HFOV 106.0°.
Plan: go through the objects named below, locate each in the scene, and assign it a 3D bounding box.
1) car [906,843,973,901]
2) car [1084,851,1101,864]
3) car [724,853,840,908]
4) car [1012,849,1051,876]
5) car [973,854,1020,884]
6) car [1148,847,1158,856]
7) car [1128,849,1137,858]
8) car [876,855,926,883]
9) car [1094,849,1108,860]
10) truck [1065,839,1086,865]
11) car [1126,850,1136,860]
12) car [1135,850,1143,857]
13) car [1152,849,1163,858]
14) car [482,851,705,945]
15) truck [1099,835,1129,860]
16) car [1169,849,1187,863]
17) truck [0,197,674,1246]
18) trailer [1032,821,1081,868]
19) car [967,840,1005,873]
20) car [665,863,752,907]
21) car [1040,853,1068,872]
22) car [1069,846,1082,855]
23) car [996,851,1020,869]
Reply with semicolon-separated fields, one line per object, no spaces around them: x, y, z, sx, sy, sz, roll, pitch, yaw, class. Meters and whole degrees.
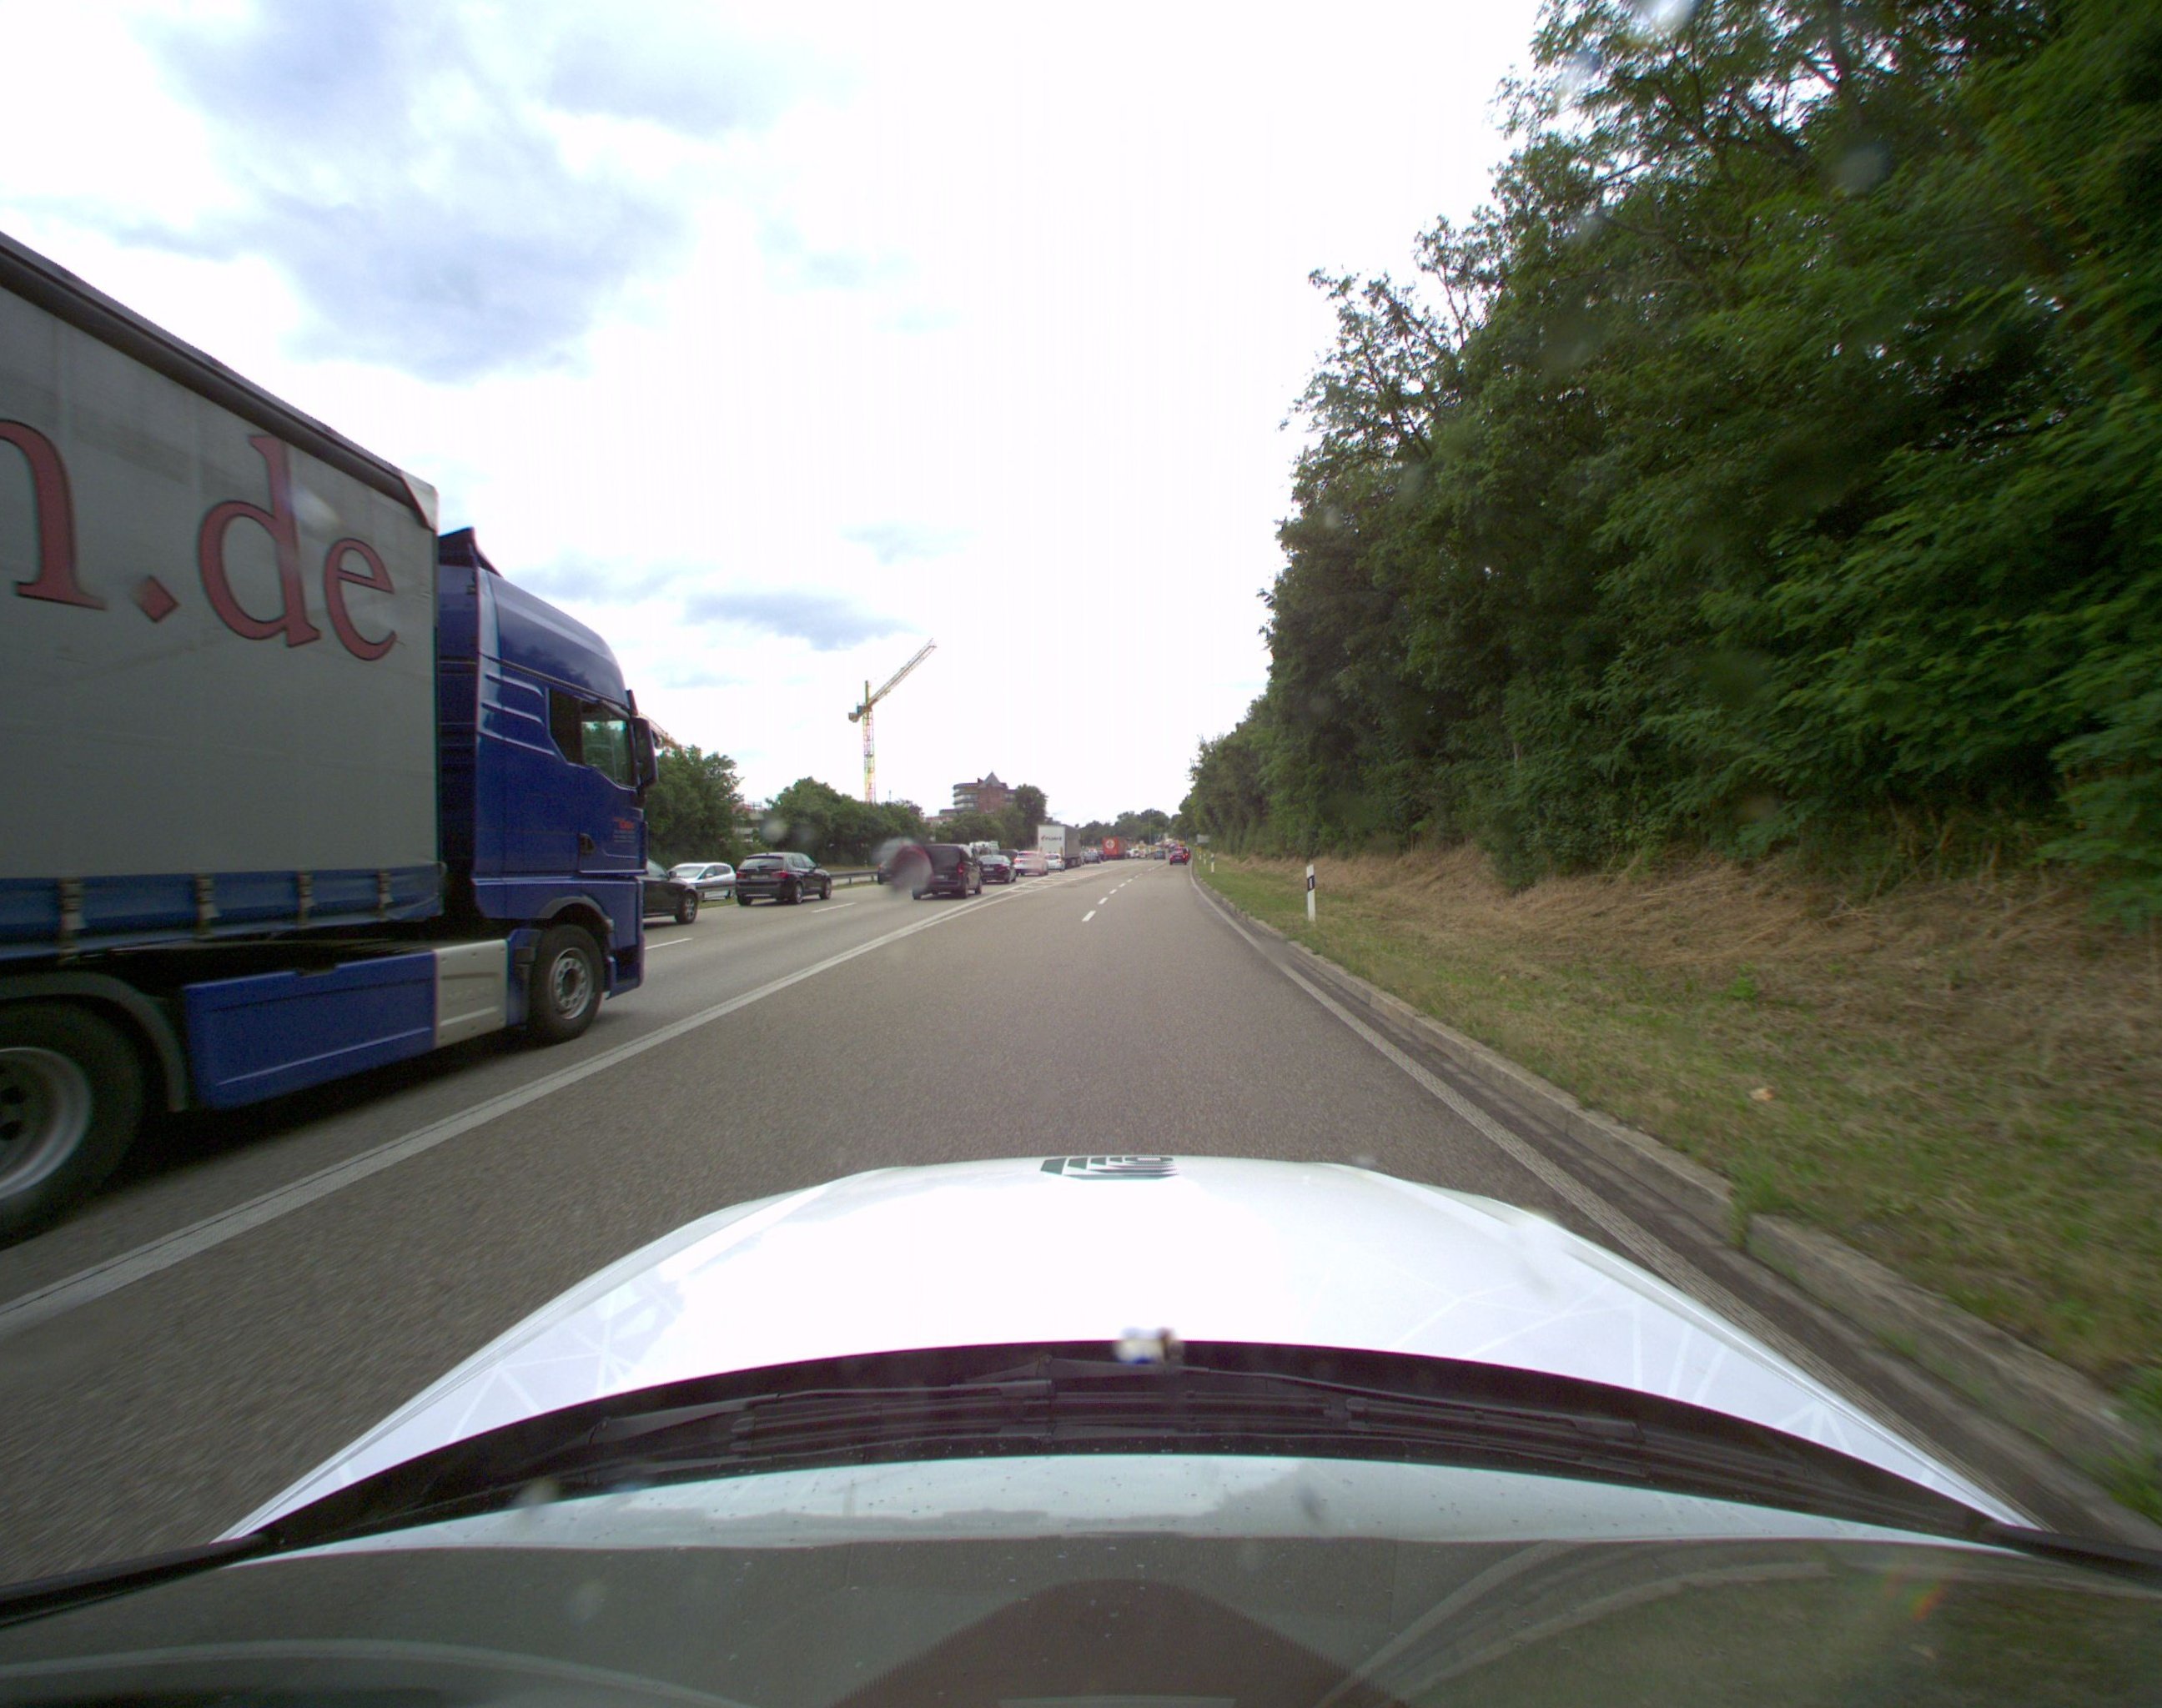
-5.020;0.604;29.490;1.985;1.898;4.975;-1;0;-6;car
1.508;0.450;105.422;1.708;1.684;4.007;-1;0;6;car
-9.791;0.798;27.106;1.852;1.613;4.655;-2;0;3;car
-3.313;0.571;55.590;1.947;1.695;4.872;-1;0;5;car
-4.350;0.747;42.655;1.841;1.460;4.832;-1;0;1;car
15.166;-0.532;172.092;1.942;2.013;4.006;-2;0;5;car
11.422;-0.062;180.447;1.606;1.948;3.712;-1;0;7;car
-9.622;0.769;43.821;1.668;1.389;4.002;-2;0;2;car
3.079;0.087;124.335;1.708;1.684;4.007;-1;0;6;car
-0.886;-0.331;137.954;2.727;4.138;10.706;-1;0;3;truck
10.397;0.253;168.522;1.605;1.948;3.714;-1;0;9;car
14.006;-0.171;197.734;1.770;1.482;4.004;-2;0;3;car
12.595;-0.087;134.124;1.816;1.482;4.006;-2;0;5;car
-9.927;0.789;17.113;1.740;1.655;4.685;-2;0;1;car
6.023;-1.229;145.450;3.469;4.073;13.626;-2;0;9;truck
10.546;0.227;88.541;1.815;1.482;4.008;-2;0;7;car
-5.467;-0.492;5.128;2.553;4.042;6.586;-1;0;-1;truck
-2.168;-0.765;77.623;3.284;4.036;13.112;-1;0;4;trailer
-7.717;0.208;66.737;1.984;2.553;5.369;-2;0;5;car
-15.732;1.261;34.671;1.595;1.688;4.213;-2;0;2;car
-2.140;0.657;65.694;1.756;1.478;4.095;0;0;5;car
-1.146;-0.749;173.800;1.983;2.013;4.009;-2;0;7;car
-6.977;0.580;78.153;1.709;1.682;4.004;-1;0;4;car
